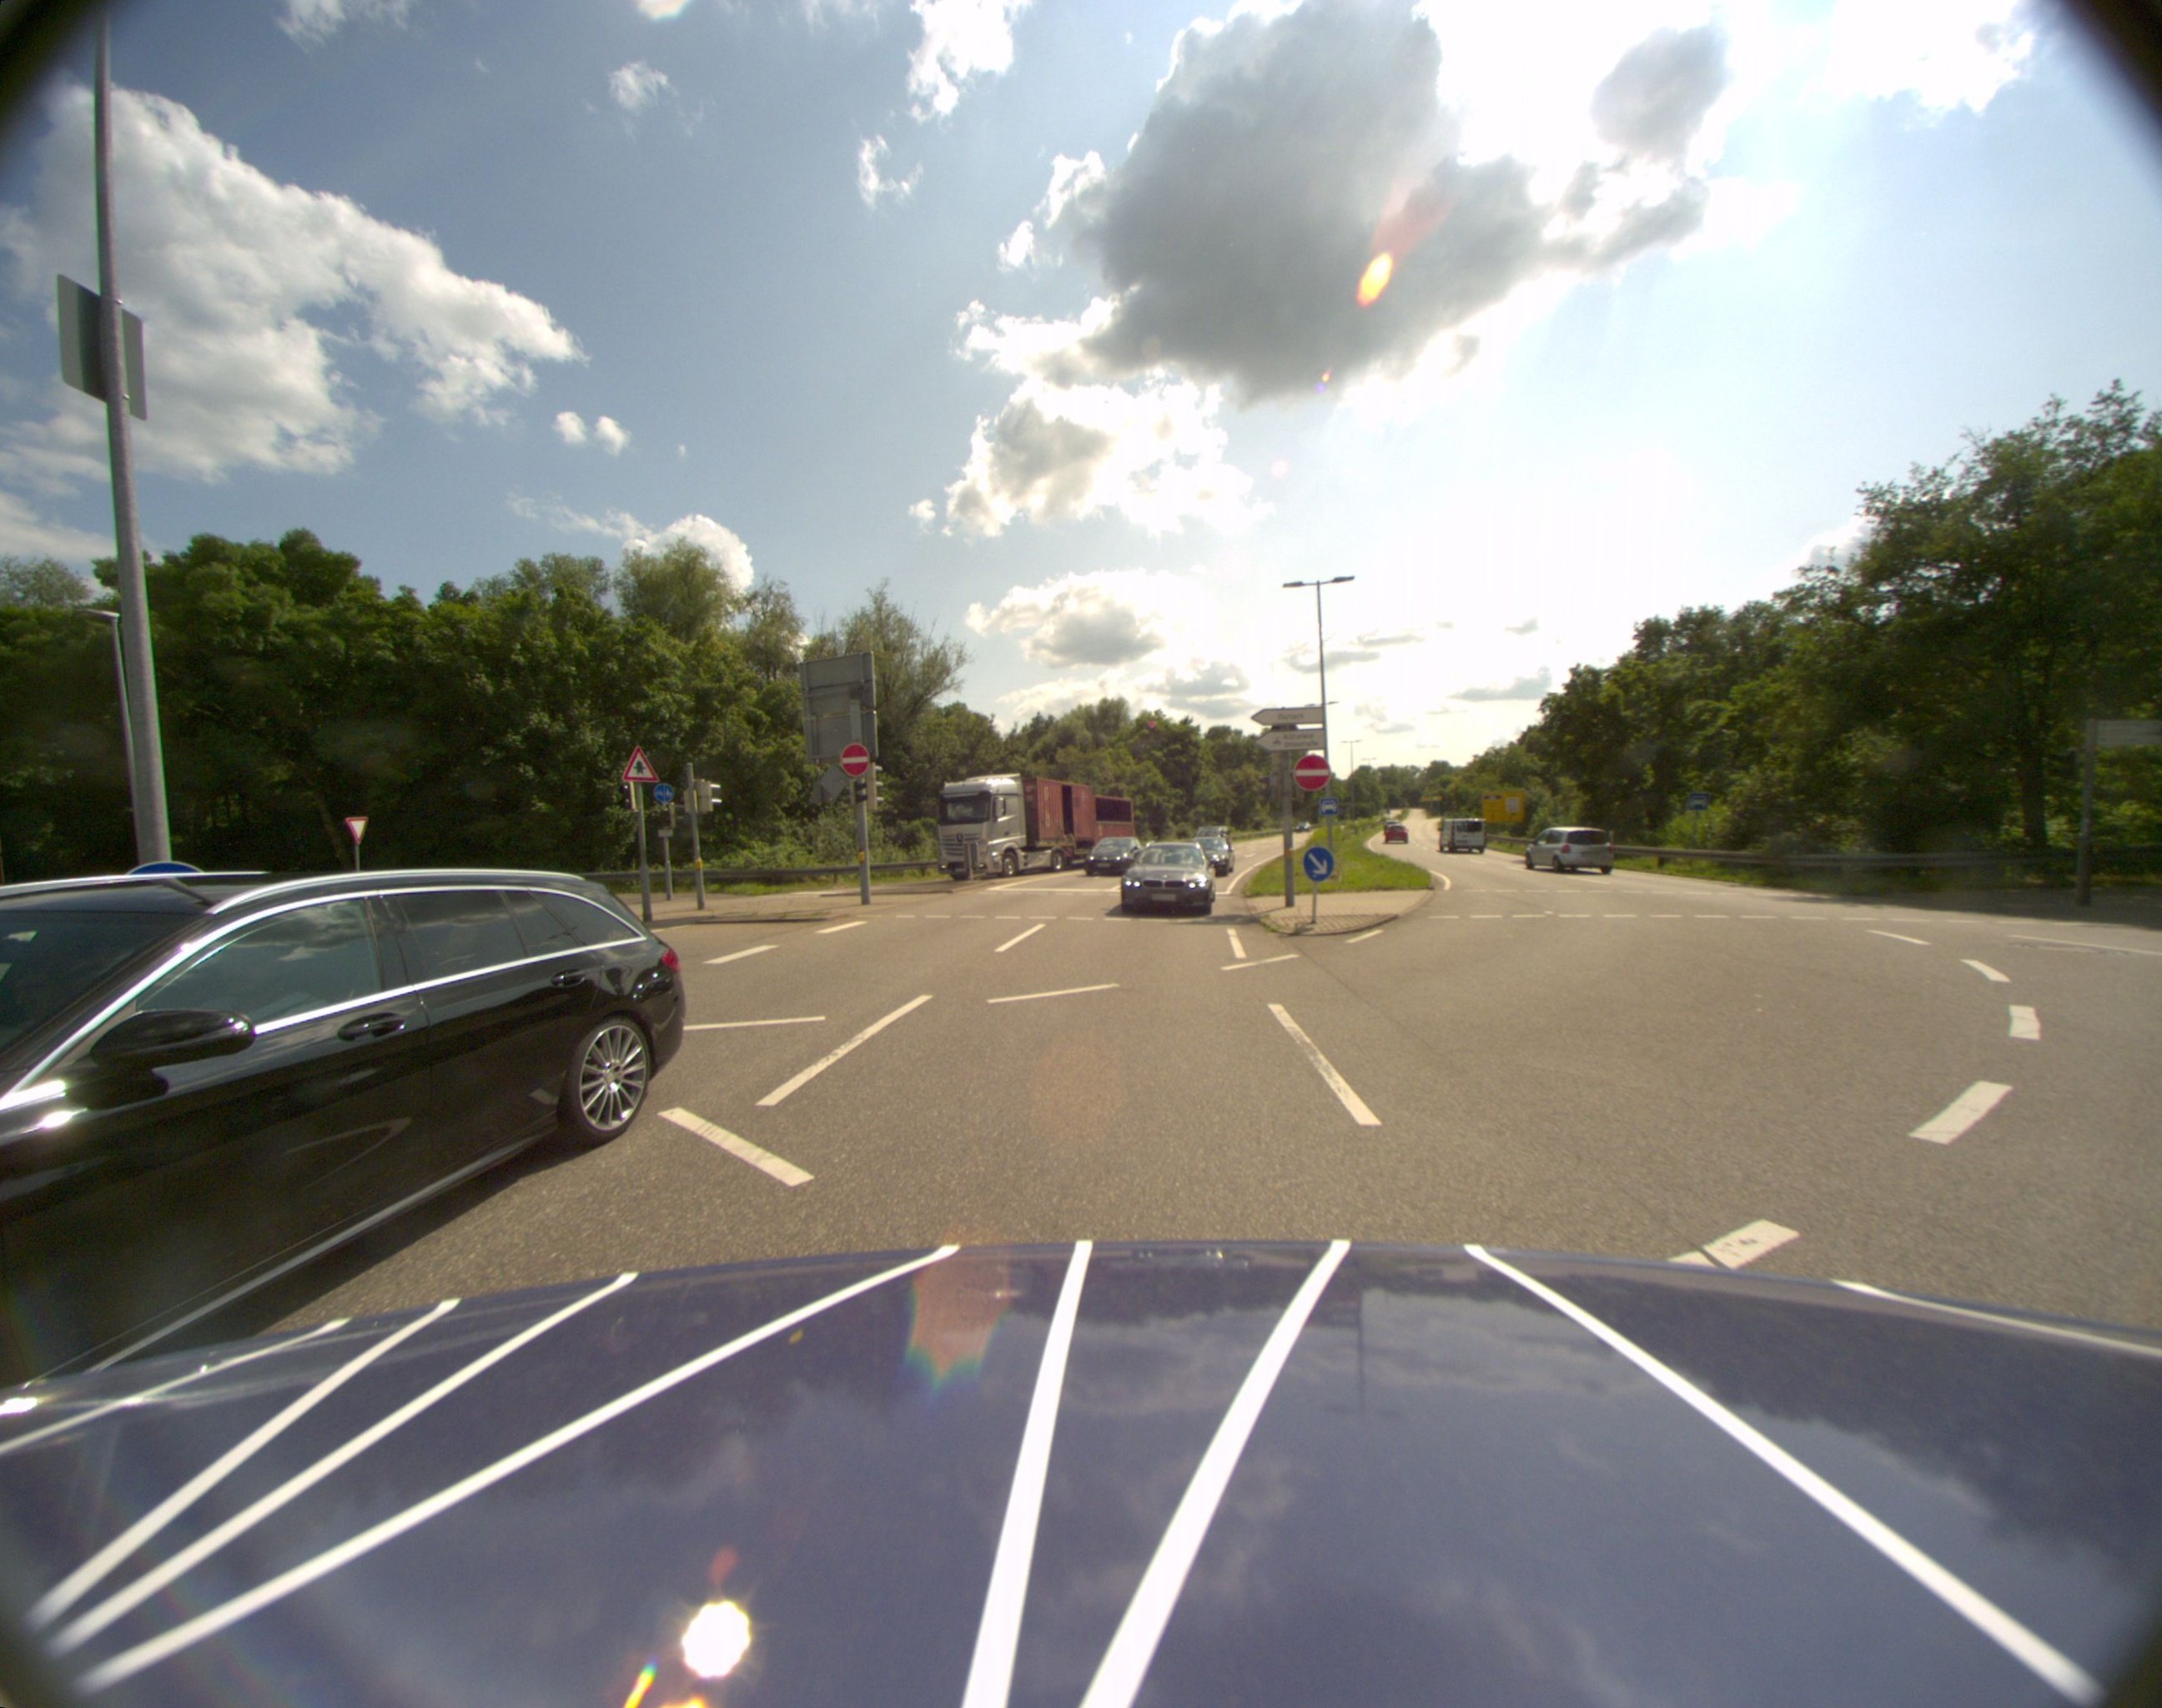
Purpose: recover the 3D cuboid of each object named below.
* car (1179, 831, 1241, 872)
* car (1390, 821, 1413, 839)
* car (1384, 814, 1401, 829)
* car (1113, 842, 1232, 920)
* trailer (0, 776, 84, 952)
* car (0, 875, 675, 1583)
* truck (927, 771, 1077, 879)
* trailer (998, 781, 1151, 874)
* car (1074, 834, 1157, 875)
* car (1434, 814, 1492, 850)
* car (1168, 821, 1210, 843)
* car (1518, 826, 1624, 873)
[{"bbox_3d":[4.984,-0.129,29.007,1.856,1.403,4.004,-1,2,16],"label":"car"},{"bbox_3d":[25.463,-1.921,60.439,1.582,1.424,4.005,1,2,22],"label":"car"},{"bbox_3d":[34.873,-3.641,85.091,1.711,1.577,4.287,1,3,21],"label":"car"},{"bbox_3d":[2.104,0.474,16.421,1.856,1.355,4.004,1,2,17],"label":"car"},{"bbox_3d":[-30.664,0.653,16.346,13.840,3.869,2.646,-4,2,-3],"label":"trailer"},{"bbox_3d":[-3.359,0.938,2.330,1.795,1.427,4.368,-1,2,0],"label":"car"},{"bbox_3d":[-2.930,-1.134,30.720,2.771,3.823,6.829,-2,2,25],"label":"truck"},{"bbox_3d":[0.184,-1.329,37.813,2.774,3.829,12.337,-1,2,23],"label":"trailer"},{"bbox_3d":[1.417,-0.028,29.156,1.855,1.403,4.005,-1,2,23],"label":"car"},{"bbox_3d":[22.608,-1.319,45.163,1.996,2.003,5.139,1,3,15],"label":"car"},{"bbox_3d":[7.418,-1.488,51.954,1.855,1.403,4.005,-1,2,23],"label":"car"},{"bbox_3d":[17.331,-0.219,27.097,1.735,1.512,4.070,1,2,10],"label":"car"}]
